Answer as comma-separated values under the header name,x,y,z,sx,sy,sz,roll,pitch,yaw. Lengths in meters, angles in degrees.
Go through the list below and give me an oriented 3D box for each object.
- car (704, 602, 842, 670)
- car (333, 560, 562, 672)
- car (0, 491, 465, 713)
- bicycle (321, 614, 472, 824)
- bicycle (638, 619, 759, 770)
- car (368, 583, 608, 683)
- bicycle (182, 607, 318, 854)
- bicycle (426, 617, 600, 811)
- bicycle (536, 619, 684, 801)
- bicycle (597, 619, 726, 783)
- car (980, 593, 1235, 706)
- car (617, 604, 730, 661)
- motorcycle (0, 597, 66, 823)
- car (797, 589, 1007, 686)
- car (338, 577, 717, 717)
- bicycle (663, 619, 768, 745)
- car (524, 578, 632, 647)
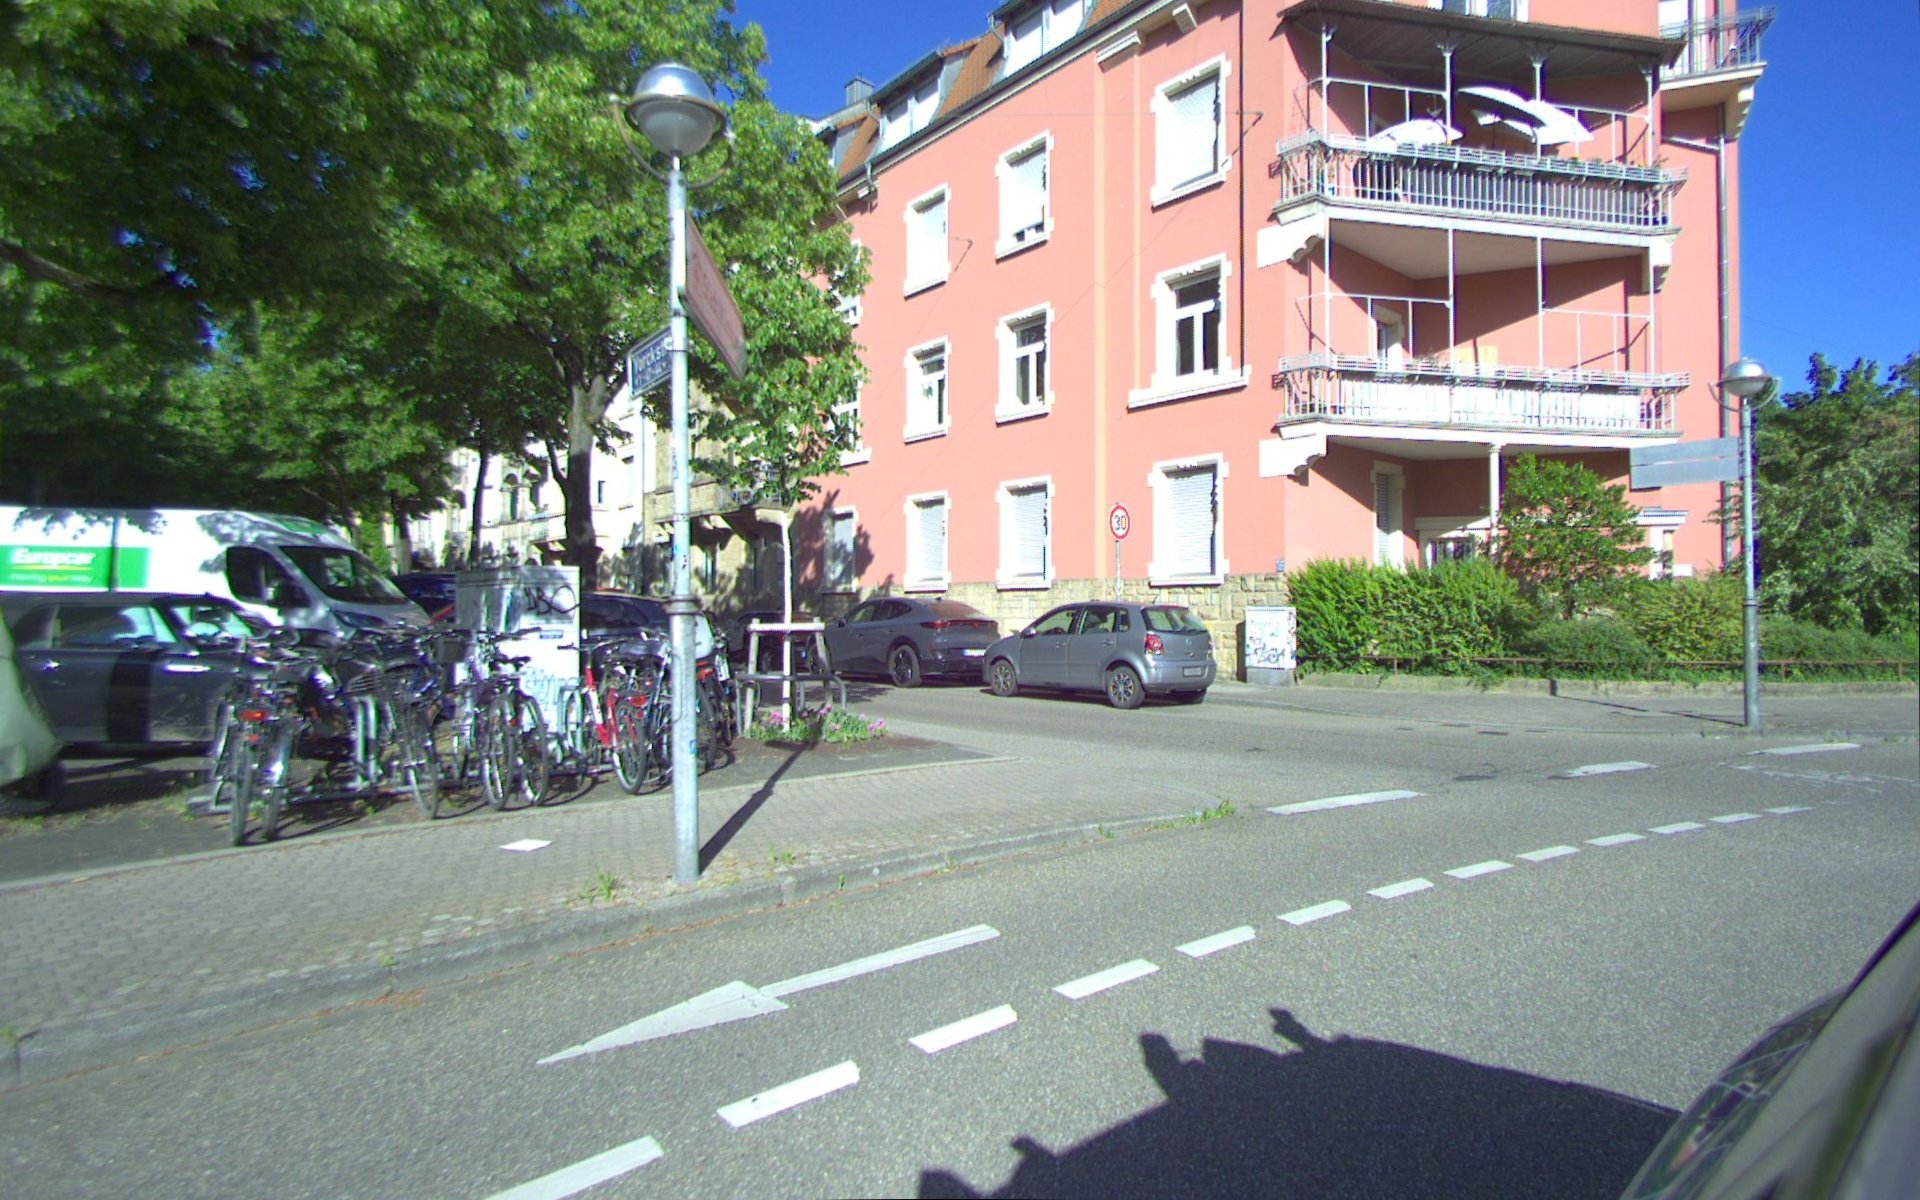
name,x,y,z,sx,sy,sz,roll,pitch,yaw
car,-4.264,0.768,22.861,1.658,1.399,3.276,2,-1,-40
car,-9.115,0.304,18.258,3.313,1.889,1.691,1,-1,-11
car,-10.217,0.020,13.418,6.256,2.634,2.103,1,-1,1
bicycle,-3.679,0.687,6.546,0.579,1.141,1.601,1,0,-39
bicycle,-2.194,0.725,8.378,0.411,1.100,1.526,2,-1,-36
car,-7.547,0.519,16.340,3.314,1.465,1.690,1,-1,-26
bicycle,-4.202,0.667,5.942,0.528,1.208,1.678,1,0,-39
bicycle,-3.081,0.693,6.884,0.645,1.102,1.728,1,0,-39
bicycle,-2.550,0.718,7.267,0.491,1.116,1.649,2,-1,-37
bicycle,-2.334,0.720,7.814,0.411,1.103,1.573,2,-1,-37
car,2.085,0.658,14.980,1.658,1.465,3.541,2,-1,-40
car,-7.583,0.816,26.669,1.658,1.399,3.276,2,-1,-40
motorcycle,-6.173,0.618,5.653,1.679,1.286,0.538,2,-1,-35
car,-1.191,0.630,18.749,1.658,1.582,4.289,2,-1,-40
car,-4.888,0.538,11.962,3.839,1.465,1.691,1,-1,-15
bicycle,-2.409,0.756,9.860,0.411,1.100,1.526,2,-1,-36
car,-12.354,0.402,32.584,1.907,2.071,4.269,2,-1,-40
